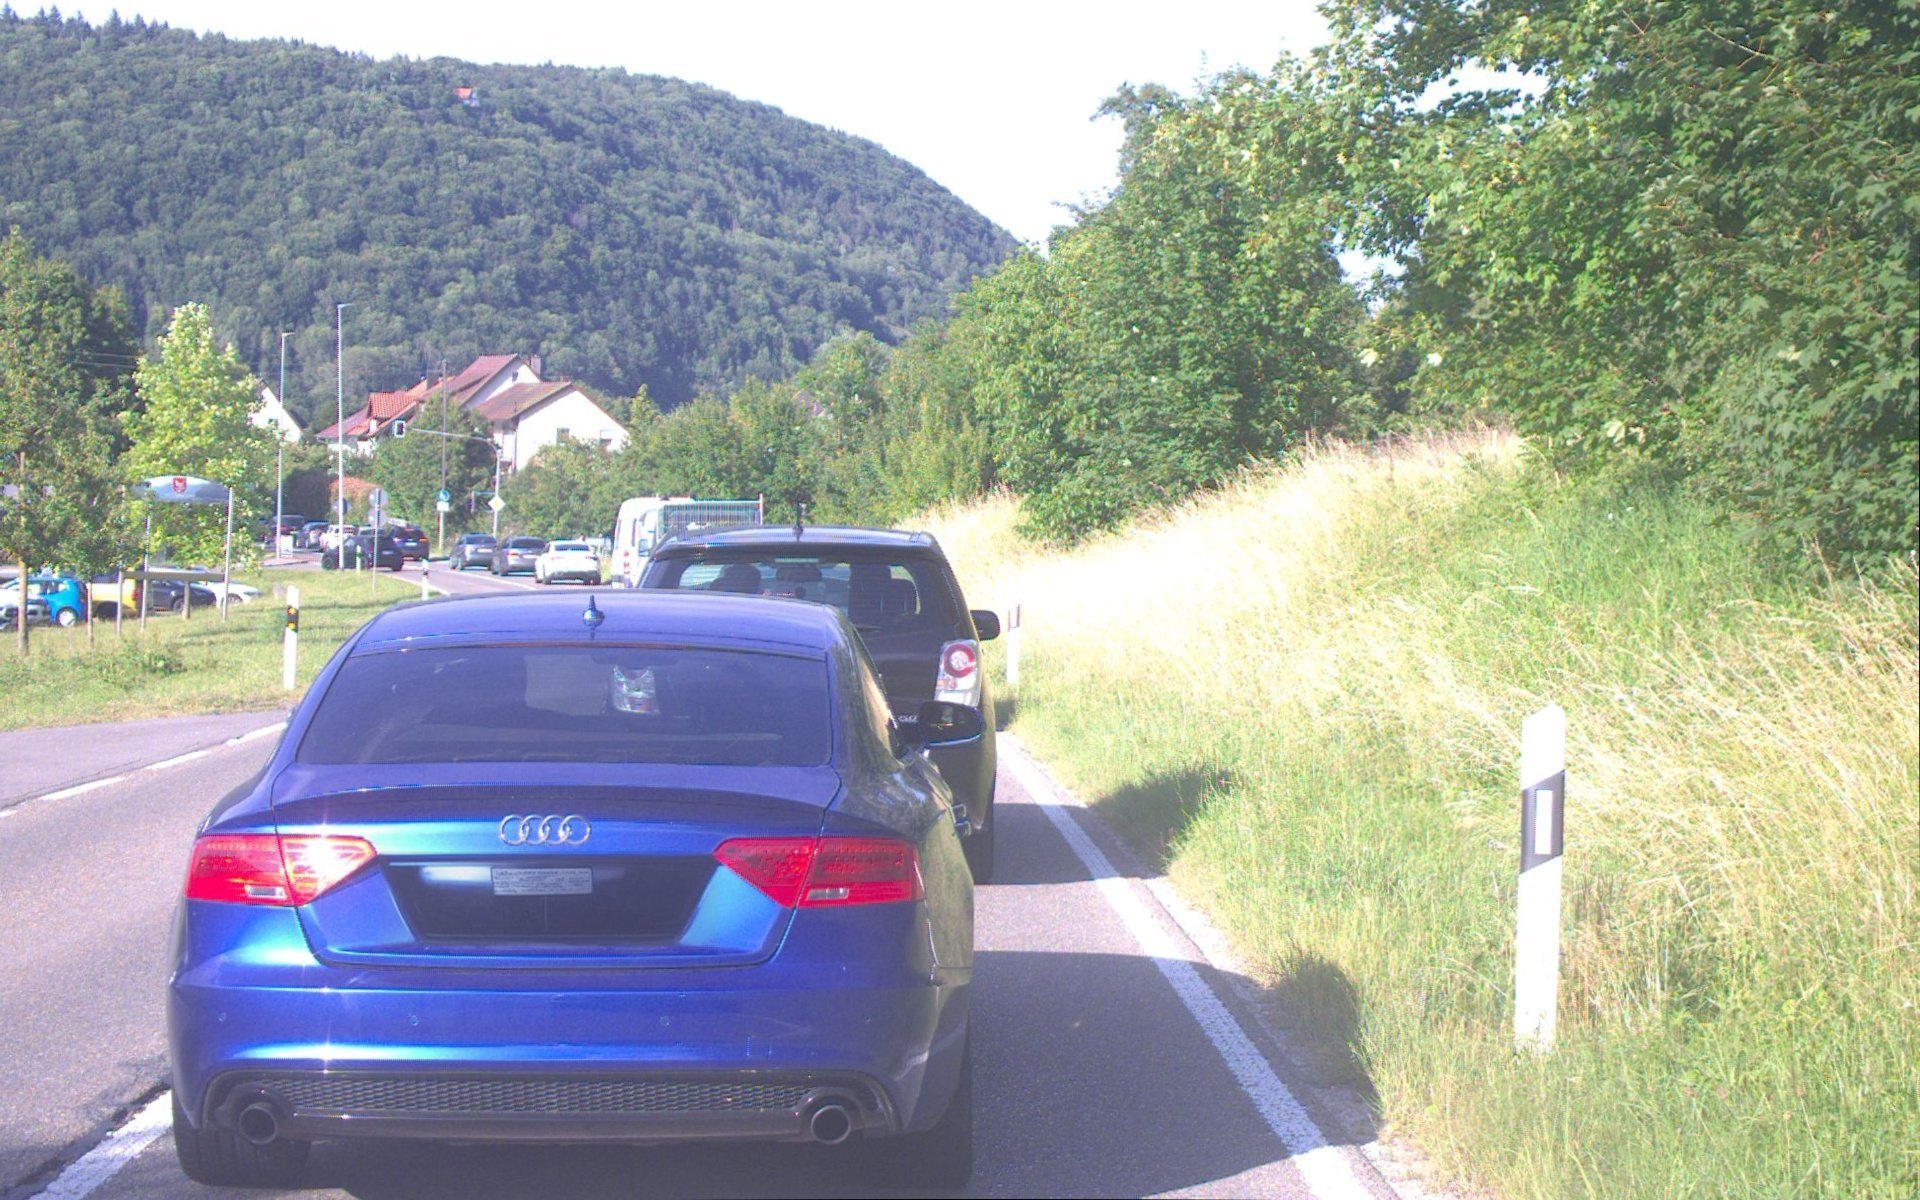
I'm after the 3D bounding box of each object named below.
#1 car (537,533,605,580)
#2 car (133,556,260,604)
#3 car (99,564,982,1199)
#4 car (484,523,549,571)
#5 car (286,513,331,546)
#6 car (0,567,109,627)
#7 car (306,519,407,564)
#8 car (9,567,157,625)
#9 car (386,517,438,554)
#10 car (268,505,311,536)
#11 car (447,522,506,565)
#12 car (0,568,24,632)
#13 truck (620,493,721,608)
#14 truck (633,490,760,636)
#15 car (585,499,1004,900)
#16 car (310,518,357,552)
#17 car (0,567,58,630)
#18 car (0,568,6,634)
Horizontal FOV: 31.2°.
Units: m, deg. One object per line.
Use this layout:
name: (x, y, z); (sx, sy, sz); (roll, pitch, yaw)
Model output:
car: (-12.702, -1.423, 112.062); (1.845, 1.477, 4.001); (1, 0, -12)
car: (-26.313, -0.697, 118.563); (3.986, 1.573, 1.753); (1, 0, -3)
car: (-0.832, 0.635, 8.808); (1.754, 1.425, 3.846); (1, 0, 0)
car: (-16.318, -1.954, 126.345); (1.845, 1.706, 4.001); (1, 0, -15)
car: (-35.433, -3.823, 186.924); (1.845, 1.706, 4.001); (1, 1, -18)
car: (-27.312, -0.113, 101.328); (3.986, 1.705, 2.000); (1, 0, -3)
car: (-23.720, -2.299, 135.060); (3.997, 1.706, 1.847); (1, 1, 42)
car: (-26.512, -0.126, 104.003); (3.986, 1.705, 2.000); (1, 0, -3)
car: (-25.468, -2.985, 159.667); (1.845, 1.706, 4.001); (1, 1, -17)
car: (-38.009, -4.477, 194.888); (1.845, 1.706, 4.001); (1, 1, -18)
car: (-19.574, -2.279, 139.035); (1.845, 1.706, 4.001); (1, 0, -15)
car: (-27.365, -0.032, 92.256); (3.986, 1.705, 2.000); (1, 0, -3)
truck: (-6.731, -1.140, 80.446); (2.229, 2.561, 6.709); (1, 0, -4)
truck: (-4.897, -0.690, 64.092); (2.229, 2.561, 6.104); (1, 0, -4)
car: (-0.692, 0.403, 16.471); (1.754, 1.675, 3.846); (1, 0, 0)
car: (-32.600, -3.380, 178.930); (1.845, 1.706, 4.001); (1, 1, -18)
car: (-27.302, -0.061, 95.541); (3.986, 1.705, 2.000); (1, 0, -3)
car: (-26.843, 0.008, 88.600); (3.986, 1.705, 2.000); (1, 0, -3)
